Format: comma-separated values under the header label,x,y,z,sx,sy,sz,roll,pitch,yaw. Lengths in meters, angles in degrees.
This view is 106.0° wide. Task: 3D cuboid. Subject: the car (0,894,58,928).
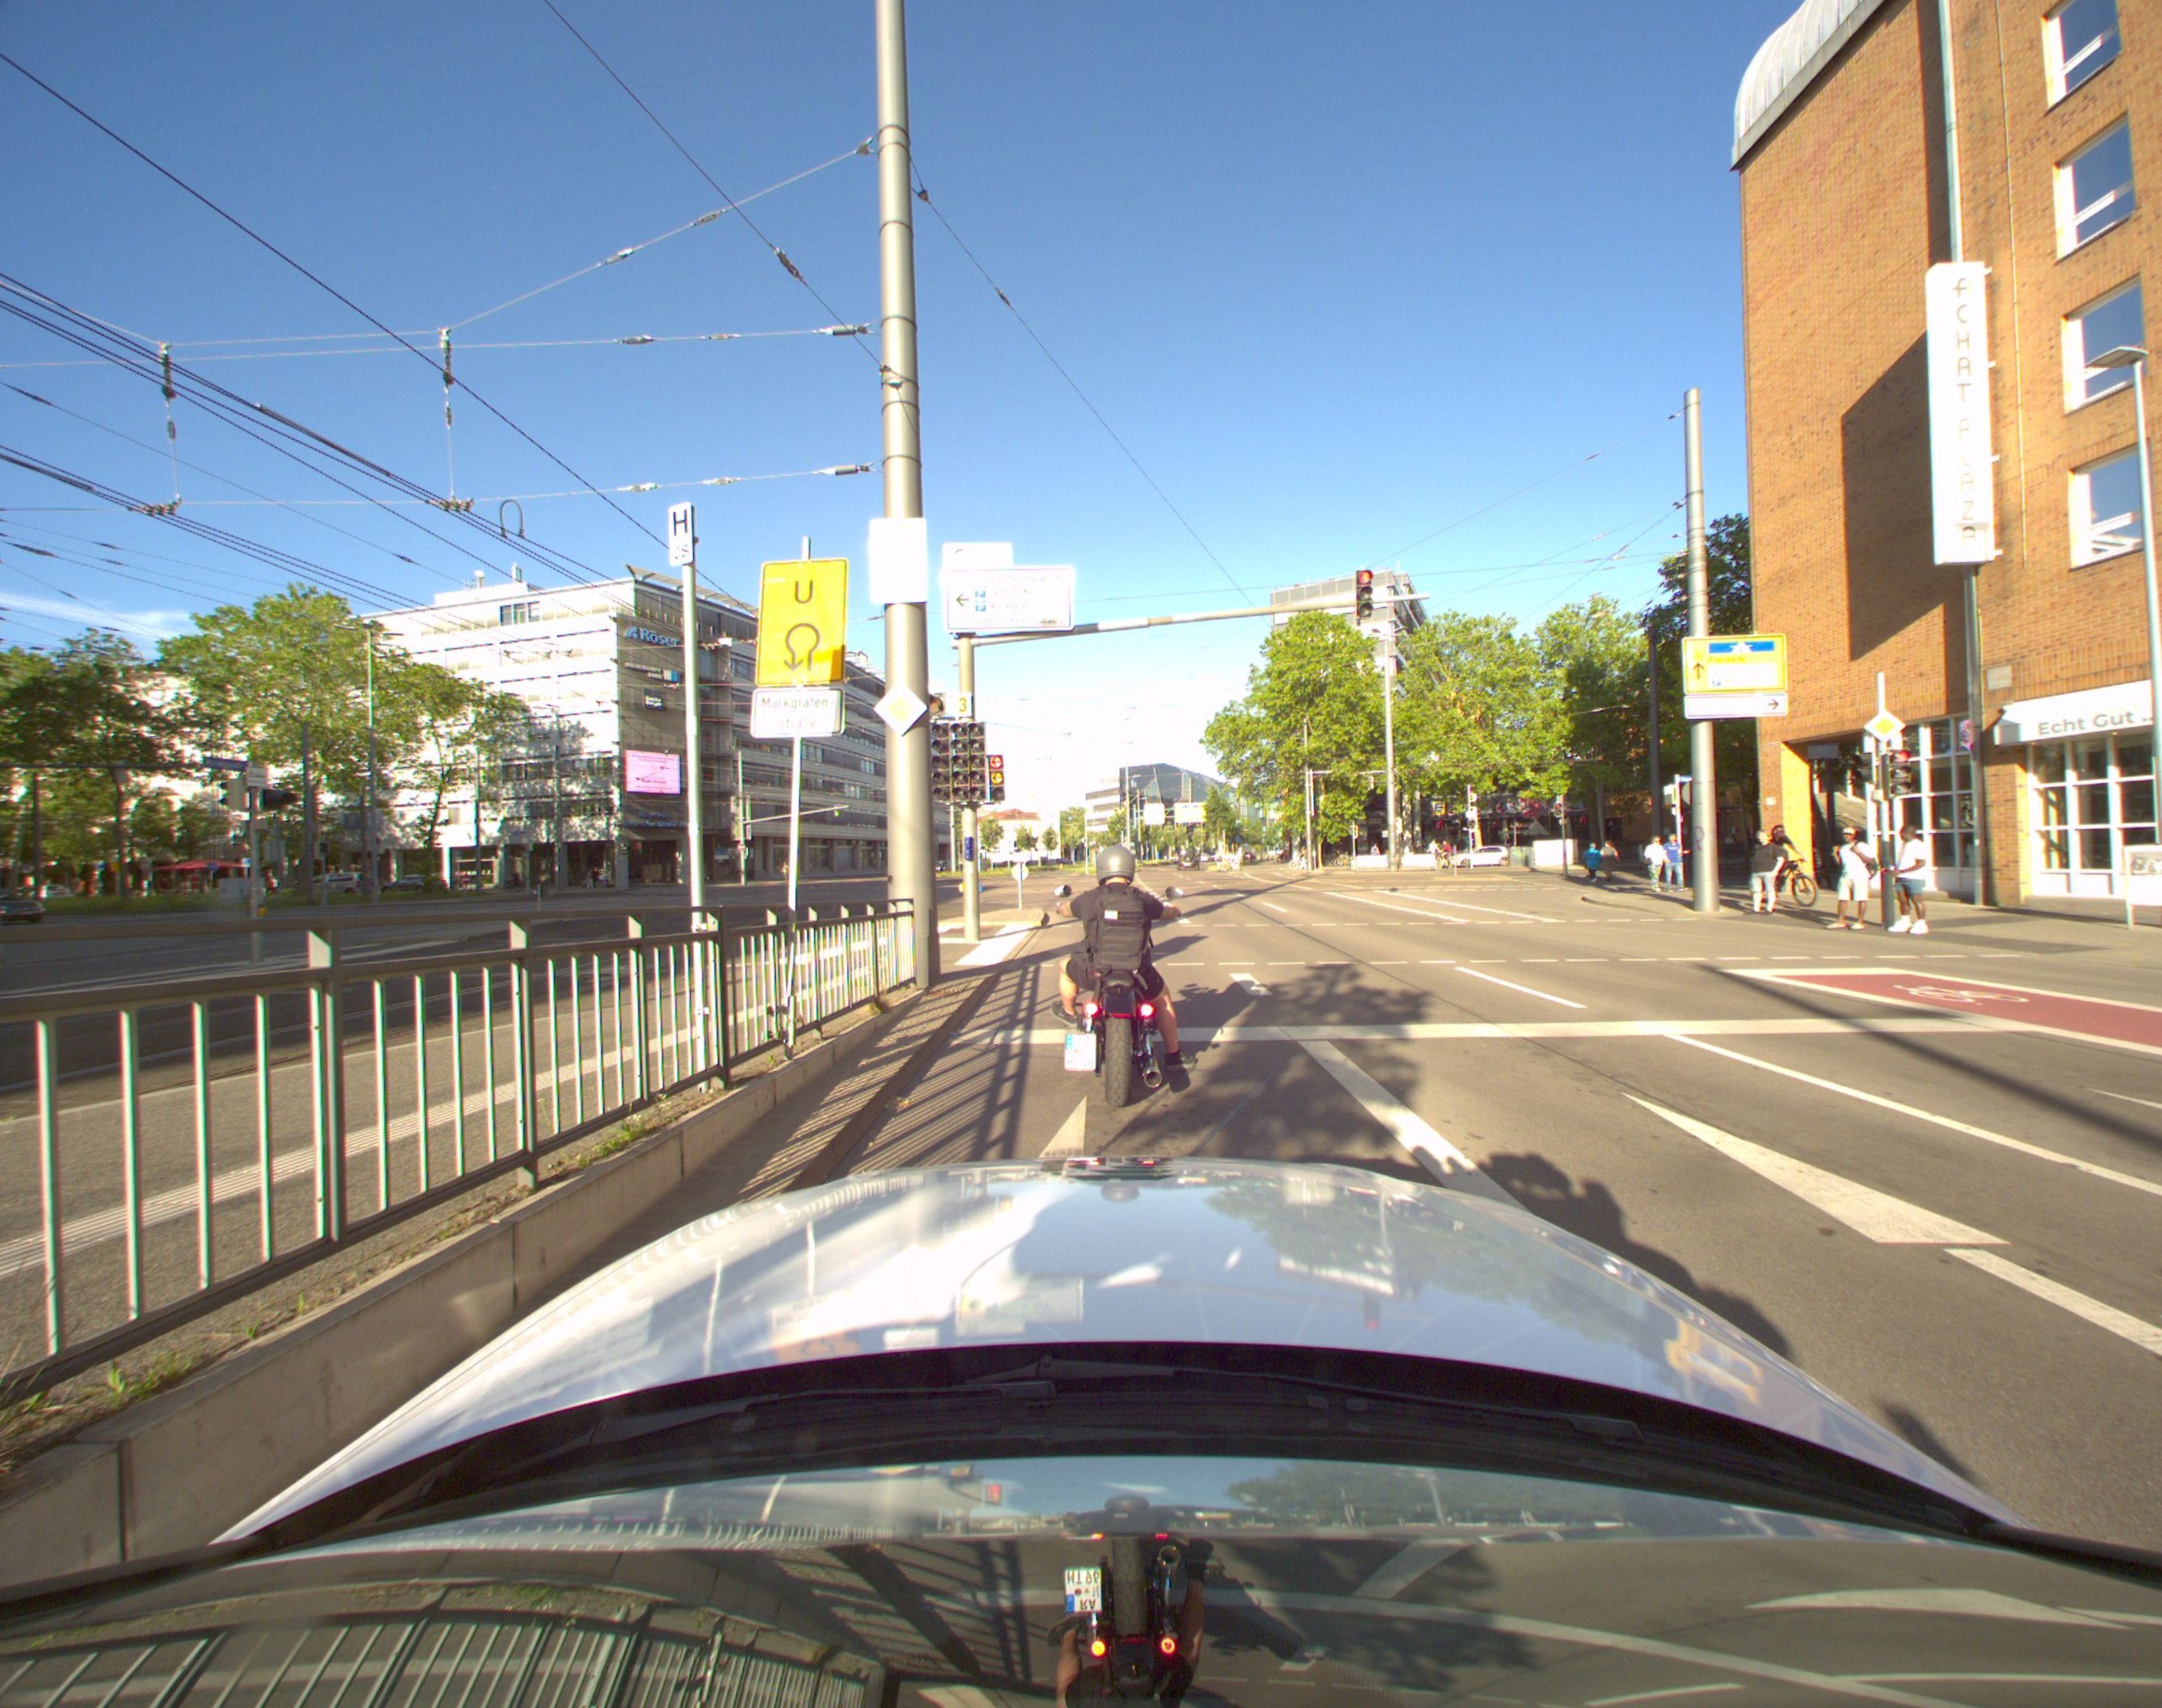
label,x,y,z,sx,sy,sz,roll,pitch,yaw
car,-44.957,2.339,33.505,3.599,1.328,1.655,0,-1,-1

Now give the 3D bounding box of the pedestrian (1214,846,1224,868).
label,x,y,z,sx,sy,sz,roll,pitch,yaw
pedestrian,11.730,0.242,69.165,0.693,1.837,0.518,-1,-1,37

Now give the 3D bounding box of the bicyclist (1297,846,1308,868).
label,x,y,z,sx,sy,sz,roll,pitch,yaw
bicyclist,17.697,0.227,64.981,0.737,1.694,0.572,-2,-1,13

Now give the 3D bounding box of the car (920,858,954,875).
label,x,y,z,sx,sy,sz,roll,pitch,yaw
car,-13.991,1.221,79.376,1.780,1.465,4.324,-2,0,11

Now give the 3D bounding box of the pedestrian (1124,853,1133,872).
label,x,y,z,sx,sy,sz,roll,pitch,yaw
pedestrian,4.036,0.718,69.033,0.654,1.582,0.490,-1,0,5

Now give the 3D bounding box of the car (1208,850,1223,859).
label,x,y,z,sx,sy,sz,roll,pitch,yaw
car,24.492,0.072,148.149,1.705,1.657,3.774,-2,0,22

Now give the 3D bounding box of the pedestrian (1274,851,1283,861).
label,x,y,z,sx,sy,sz,roll,pitch,yaw
pedestrian,21.940,0.214,90.334,0.777,1.057,0.819,-2,0,24

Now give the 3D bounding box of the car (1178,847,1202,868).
label,x,y,z,sx,sy,sz,roll,pitch,yaw
car,10.413,0.351,77.635,2.040,1.874,4.240,-1,-1,11

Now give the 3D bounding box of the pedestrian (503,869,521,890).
label,x,y,z,sx,sy,sz,roll,pitch,yaw
pedestrian,-43.486,1.944,62.252,0.831,1.610,0.607,0,3,5

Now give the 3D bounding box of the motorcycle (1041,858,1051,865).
label,x,y,z,sx,sy,sz,roll,pitch,yaw
motorcycle,-6.146,1.289,142.544,0.976,1.232,2.953,-2,0,13

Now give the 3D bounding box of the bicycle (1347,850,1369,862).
label,x,y,z,sx,sy,sz,roll,pitch,yaw
bicycle,22.898,0.171,67.385,1.692,0.986,0.392,-2,0,15

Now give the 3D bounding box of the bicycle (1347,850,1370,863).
label,x,y,z,sx,sy,sz,roll,pitch,yaw
bicycle,22.503,0.215,66.021,1.692,0.986,0.392,-2,0,15

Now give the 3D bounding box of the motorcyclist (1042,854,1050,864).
label,x,y,z,sx,sy,sz,roll,pitch,yaw
motorcyclist,-6.132,0.801,142.639,1.012,1.731,1.466,-2,0,13

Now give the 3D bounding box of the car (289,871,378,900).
label,x,y,z,sx,sy,sz,roll,pitch,yaw
car,-56.256,2.373,61.309,4.888,1.843,1.930,-2,2,3

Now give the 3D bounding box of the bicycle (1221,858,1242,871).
label,x,y,z,sx,sy,sz,roll,pitch,yaw
bicycle,12.377,0.830,67.066,1.612,1.021,0.519,-2,-1,25

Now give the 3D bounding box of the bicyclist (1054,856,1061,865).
label,x,y,z,sx,sy,sz,roll,pitch,yaw
bicyclist,-4.326,1.211,149.889,0.757,1.667,0.999,-1,0,20

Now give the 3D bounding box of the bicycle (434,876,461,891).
label,x,y,z,sx,sy,sz,roll,pitch,yaw
bicycle,-51.208,2.373,65.862,0.466,1.151,1.844,-1,1,9

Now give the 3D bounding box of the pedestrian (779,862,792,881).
label,x,y,z,sx,sy,sz,roll,pitch,yaw
pedestrian,-27.946,1.645,77.080,0.670,1.823,0.889,-3,-1,14

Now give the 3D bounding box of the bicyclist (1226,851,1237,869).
label,x,y,z,sx,sy,sz,roll,pitch,yaw
bicyclist,12.390,0.479,67.041,0.736,1.503,0.573,-2,-1,25

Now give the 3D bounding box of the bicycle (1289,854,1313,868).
label,x,y,z,sx,sy,sz,roll,pitch,yaw
bicycle,17.541,0.569,65.015,1.840,1.021,0.518,-2,-1,13

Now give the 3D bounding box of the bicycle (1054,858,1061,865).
label,x,y,z,sx,sy,sz,roll,pitch,yaw
bicycle,-4.352,1.387,149.893,0.637,1.107,1.693,-1,0,20

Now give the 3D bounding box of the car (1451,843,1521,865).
label,x,y,z,sx,sy,sz,roll,pitch,yaw
car,28.722,-0.007,57.852,3.967,1.486,2.003,0,-1,6

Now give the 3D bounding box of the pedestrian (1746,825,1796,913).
label,x,y,z,sx,sy,sz,roll,pitch,yaw
pedestrian,14.293,0.298,16.873,0.577,1.767,0.687,-1,1,-39

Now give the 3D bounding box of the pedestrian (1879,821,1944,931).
label,x,y,z,sx,sy,sz,roll,pitch,yaw
pedestrian,13.752,0.359,13.499,0.402,1.774,0.580,-3,-1,6

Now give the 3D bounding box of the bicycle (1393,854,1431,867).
label,x,y,z,sx,sy,sz,roll,pitch,yaw
bicycle,29.230,0.558,71.965,3.020,1.113,0.838,-1,0,12

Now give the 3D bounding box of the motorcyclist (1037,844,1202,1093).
label,x,y,z,sx,sy,sz,roll,pitch,yaw
motorcyclist,0.261,0.713,5.734,1.018,1.552,1.287,0,0,1

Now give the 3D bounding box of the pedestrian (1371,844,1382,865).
label,x,y,z,sx,sy,sz,roll,pitch,yaw
pedestrian,26.376,0.074,72.727,0.840,1.852,0.813,1,0,16

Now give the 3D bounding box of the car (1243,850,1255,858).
label,x,y,z,sx,sy,sz,roll,pitch,yaw
car,31.887,0.073,154.473,1.827,1.464,4.019,-1,-1,19

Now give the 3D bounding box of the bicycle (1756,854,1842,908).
label,x,y,z,sx,sy,sz,roll,pitch,yaw
bicycle,15.883,0.572,18.081,0.596,1.050,1.890,-6,0,16

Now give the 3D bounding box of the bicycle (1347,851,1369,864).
label,x,y,z,sx,sy,sz,roll,pitch,yaw
bicycle,22.758,0.272,66.926,1.692,0.986,0.392,-2,0,15

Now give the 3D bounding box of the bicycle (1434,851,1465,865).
label,x,y,z,sx,sy,sz,roll,pitch,yaw
bicycle,25.407,0.307,56.167,1.844,0.910,0.653,-2,0,6

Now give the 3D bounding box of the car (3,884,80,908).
label,x,y,z,sx,sy,sz,roll,pitch,yaw
car,-79.778,3.213,62.519,3.835,1.638,1.869,-2,0,6

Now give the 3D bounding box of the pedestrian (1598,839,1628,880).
label,x,y,z,sx,sy,sz,roll,pitch,yaw
pedestrian,20.301,0.212,31.089,0.649,1.540,0.741,0,-1,-6

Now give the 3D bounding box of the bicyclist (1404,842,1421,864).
label,x,y,z,sx,sy,sz,roll,pitch,yaw
bicyclist,29.309,-0.076,71.948,1.218,1.931,0.838,-1,0,12

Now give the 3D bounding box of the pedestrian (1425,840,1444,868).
label,x,y,z,sx,sy,sz,roll,pitch,yaw
pedestrian,20.995,-0.002,48.326,0.767,1.594,0.838,0,-1,1

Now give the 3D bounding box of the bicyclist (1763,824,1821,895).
label,x,y,z,sx,sy,sz,roll,pitch,yaw
bicyclist,15.902,0.115,18.240,0.574,1.515,0.854,-6,1,16

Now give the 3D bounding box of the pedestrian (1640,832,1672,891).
label,x,y,z,sx,sy,sz,roll,pitch,yaw
pedestrian,16.773,0.216,23.771,0.557,1.704,0.662,-1,-1,18

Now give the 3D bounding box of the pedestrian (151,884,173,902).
label,x,y,z,sx,sy,sz,roll,pitch,yaw
pedestrian,-81.919,3.435,72.615,0.985,1.546,0.875,-2,-1,9

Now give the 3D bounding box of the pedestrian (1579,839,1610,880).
label,x,y,z,sx,sy,sz,roll,pitch,yaw
pedestrian,19.482,0.198,30.895,0.674,1.540,0.741,0,-1,-6

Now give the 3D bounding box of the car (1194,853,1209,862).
label,x,y,z,sx,sy,sz,roll,pitch,yaw
car,20.153,0.594,135.923,1.758,1.514,3.751,-2,0,19

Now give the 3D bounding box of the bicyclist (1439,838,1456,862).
label,x,y,z,sx,sy,sz,roll,pitch,yaw
bicyclist,25.280,-0.305,56.192,0.921,1.615,0.638,-2,0,5

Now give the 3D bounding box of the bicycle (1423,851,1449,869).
label,x,y,z,sx,sy,sz,roll,pitch,yaw
bicycle,20.996,0.373,48.227,0.786,1.052,1.924,0,-1,2

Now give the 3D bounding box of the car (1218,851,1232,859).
label,x,y,z,sx,sy,sz,roll,pitch,yaw
car,27.602,0.128,155.645,1.705,1.484,3.776,-2,0,24

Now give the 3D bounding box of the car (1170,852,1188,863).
label,x,y,z,sx,sy,sz,roll,pitch,yaw
car,14.698,0.552,121.860,1.887,1.508,4.018,-1,-1,17

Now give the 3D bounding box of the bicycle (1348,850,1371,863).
label,x,y,z,sx,sy,sz,roll,pitch,yaw
bicycle,22.307,0.179,65.180,1.692,0.986,0.392,-2,0,15

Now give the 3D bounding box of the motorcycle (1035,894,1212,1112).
label,x,y,z,sx,sy,sz,roll,pitch,yaw
motorcycle,0.281,0.912,5.822,1.002,1.125,2.324,0,0,2

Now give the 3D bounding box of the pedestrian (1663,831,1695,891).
label,x,y,z,sx,sy,sz,roll,pitch,yaw
pedestrian,17.430,0.199,23.748,0.597,1.727,0.605,-1,-1,19

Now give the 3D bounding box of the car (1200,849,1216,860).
label,x,y,z,sx,sy,sz,roll,pitch,yaw
car,21.970,0.130,141.008,1.804,1.818,3.964,-2,0,21

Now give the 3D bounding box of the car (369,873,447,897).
label,x,y,z,sx,sy,sz,roll,pitch,yaw
car,-50.638,2.343,61.303,4.378,1.572,1.869,-2,2,6

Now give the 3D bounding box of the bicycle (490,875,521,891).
label,x,y,z,sx,sy,sz,roll,pitch,yaw
bicycle,-43.622,2.168,61.736,1.834,1.163,0.613,-1,3,3

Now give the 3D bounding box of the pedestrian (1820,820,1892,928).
label,x,y,z,sx,sy,sz,roll,pitch,yaw
pedestrian,13.558,0.346,14.260,0.500,1.833,0.725,-3,-1,-33
